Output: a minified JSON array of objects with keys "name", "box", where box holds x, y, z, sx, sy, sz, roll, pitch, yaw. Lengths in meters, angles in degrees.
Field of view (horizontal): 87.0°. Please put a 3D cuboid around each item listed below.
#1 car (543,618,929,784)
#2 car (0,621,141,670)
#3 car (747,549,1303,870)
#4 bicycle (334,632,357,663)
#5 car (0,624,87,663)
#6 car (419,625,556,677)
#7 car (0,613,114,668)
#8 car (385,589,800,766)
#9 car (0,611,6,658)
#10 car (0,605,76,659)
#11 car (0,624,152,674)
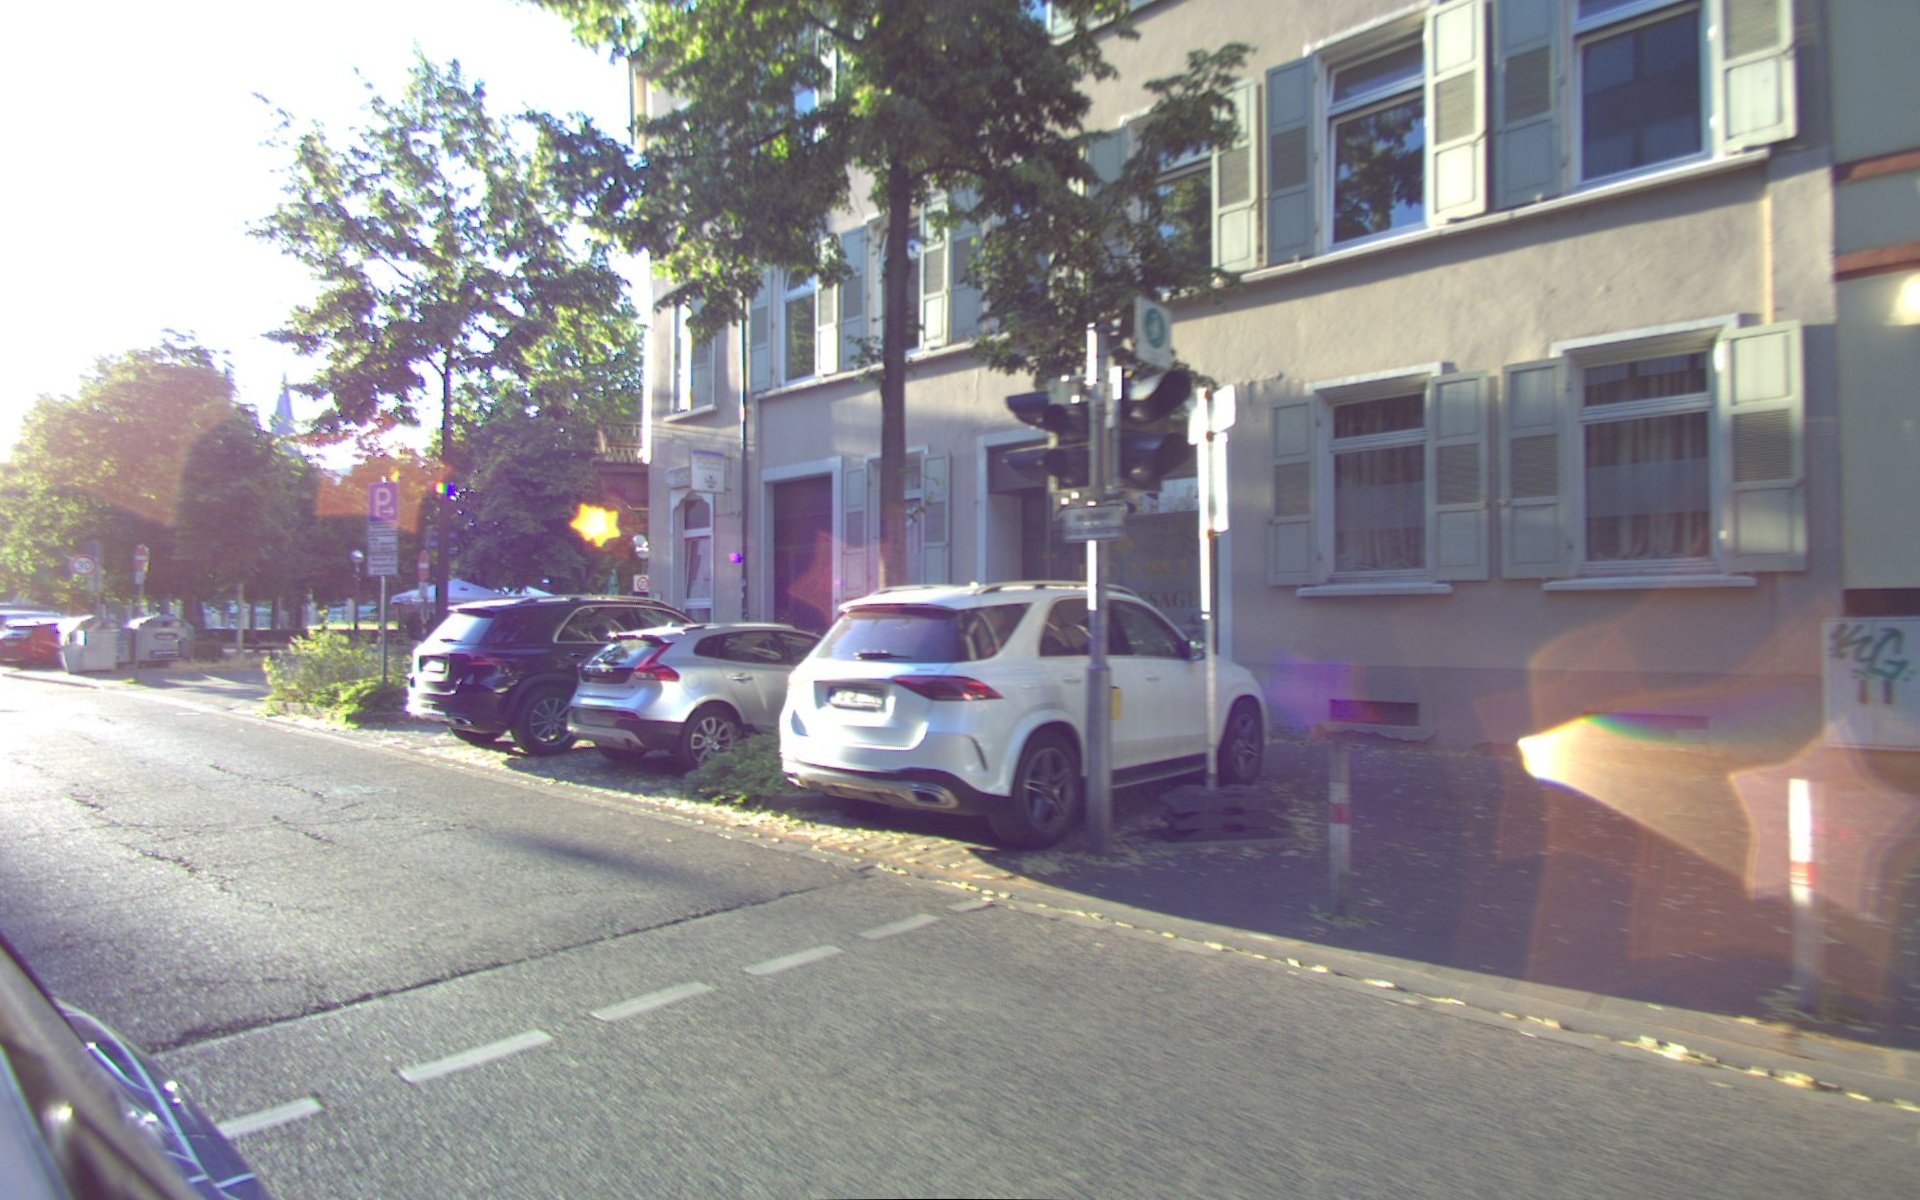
[{"name":"car","box":[-2.283,0.941,11.012,1.820,1.473,3.775,-2,-2,42]},{"name":"car","box":[-32.402,1.595,36.501,1.876,1.645,4.566,0,-2,3]},{"name":"car","box":[0.808,0.636,8.197,2.052,1.825,4.657,-2,-1,42]},{"name":"bicycle","box":[-21.274,1.660,35.037,0.573,1.041,1.861,0,-3,-28]},{"name":"car","box":[-40.352,1.822,43.031,2.114,1.594,4.553,0,-2,12]},{"name":"car","box":[-14.755,1.567,31.858,1.797,1.519,3.981,0,-2,15]},{"name":"car","box":[-35.052,1.511,38.436,1.876,1.948,4.566,0,-2,3]},{"name":"car","box":[-4.368,0.838,12.662,1.945,1.796,4.509,0,-2,40]},{"name":"car","box":[-49.645,1.665,48.912,2.136,2.376,4.755,-1,-2,13]},{"name":"car","box":[-42.784,1.421,45.084,2.136,2.376,4.755,-1,-2,13]},{"name":"car","box":[-29.953,1.608,34.003,1.790,1.569,4.566,0,-2,3]}]
